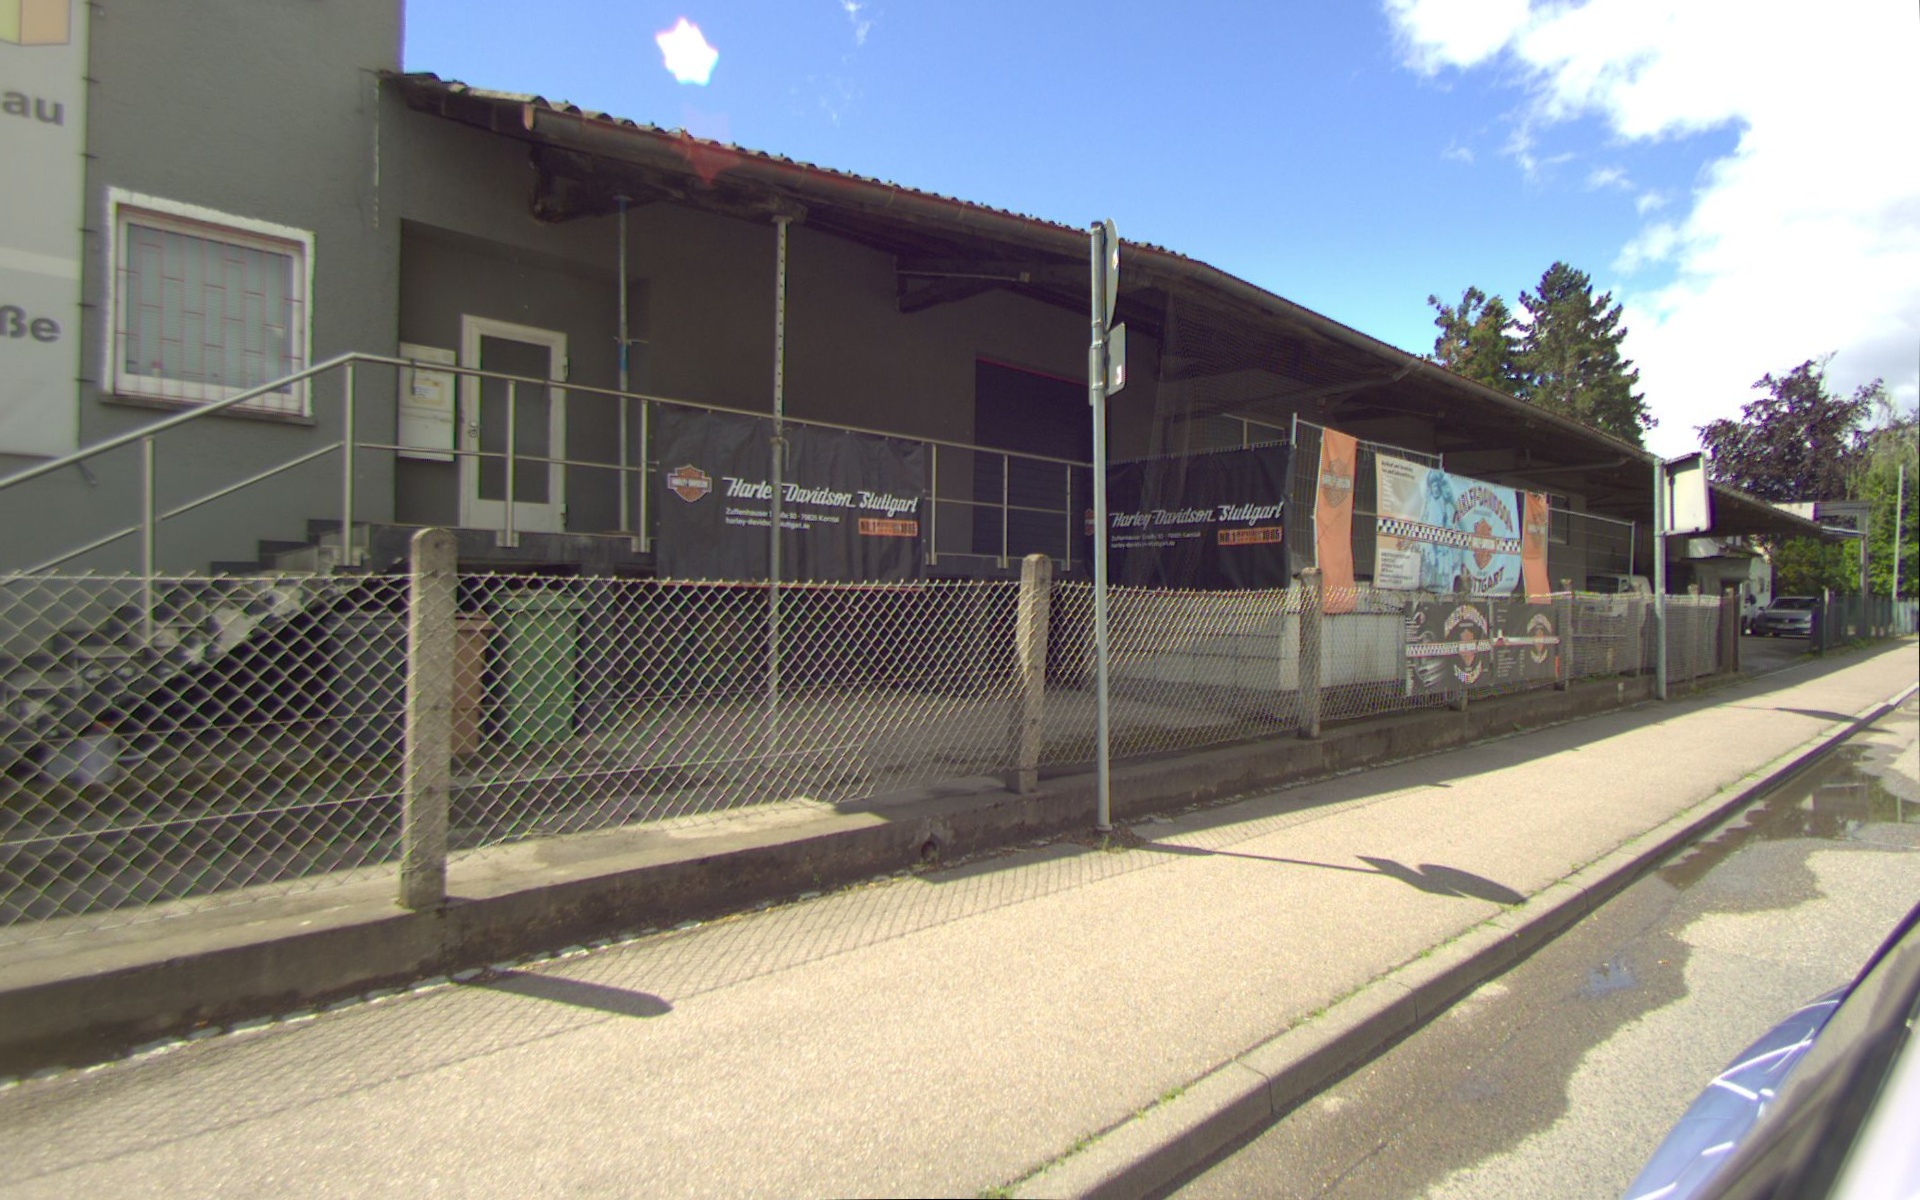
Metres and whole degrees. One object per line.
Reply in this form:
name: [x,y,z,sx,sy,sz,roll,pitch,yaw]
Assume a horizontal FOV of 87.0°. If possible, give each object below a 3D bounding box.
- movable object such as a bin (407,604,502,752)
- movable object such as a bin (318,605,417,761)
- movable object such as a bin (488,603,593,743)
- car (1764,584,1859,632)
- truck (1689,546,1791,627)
movable object such as a bin: [-3.432,0.503,6.863,0.466,0.942,0.482,0,0,-42]
movable object such as a bin: [-3.815,0.509,6.513,0.466,0.942,0.482,0,0,-42]
movable object such as a bin: [-3.007,0.497,7.255,0.574,0.942,0.482,0,0,-42]
car: [29.869,0.230,35.441,5.114,1.549,1.860,-1,1,-42]
truck: [29.523,-0.510,38.230,5.112,2.864,2.089,-1,0,-41]
